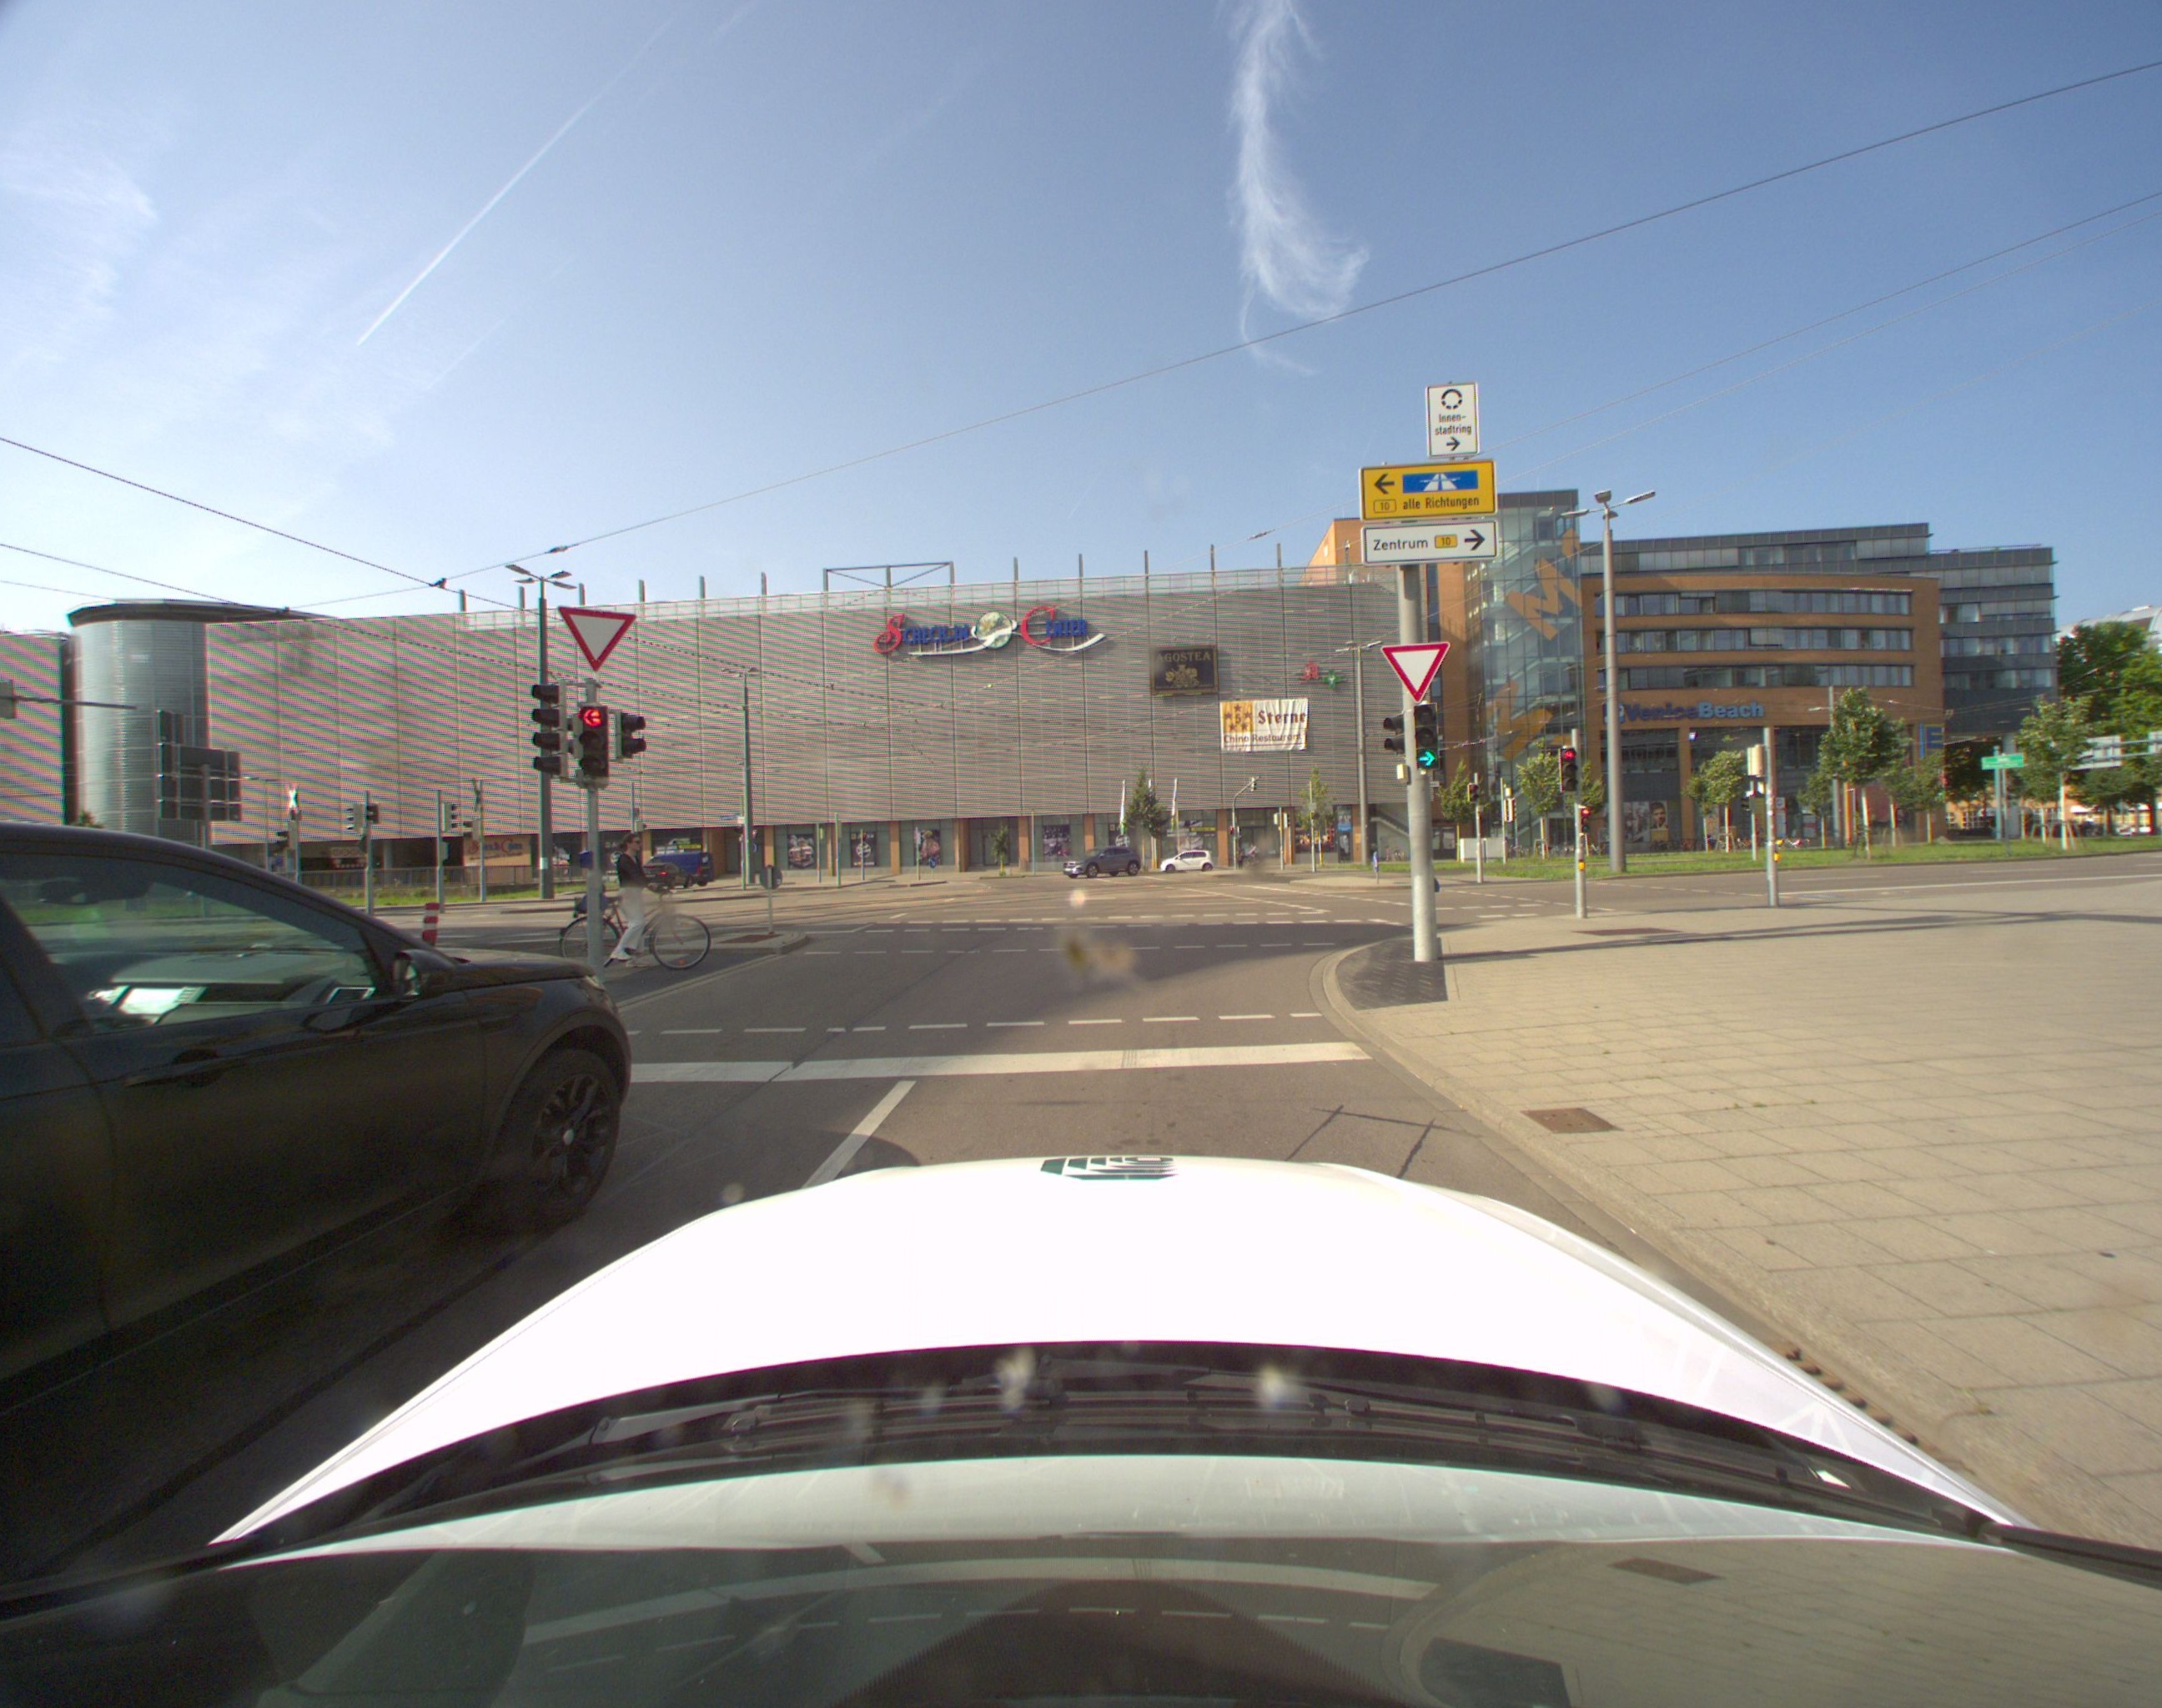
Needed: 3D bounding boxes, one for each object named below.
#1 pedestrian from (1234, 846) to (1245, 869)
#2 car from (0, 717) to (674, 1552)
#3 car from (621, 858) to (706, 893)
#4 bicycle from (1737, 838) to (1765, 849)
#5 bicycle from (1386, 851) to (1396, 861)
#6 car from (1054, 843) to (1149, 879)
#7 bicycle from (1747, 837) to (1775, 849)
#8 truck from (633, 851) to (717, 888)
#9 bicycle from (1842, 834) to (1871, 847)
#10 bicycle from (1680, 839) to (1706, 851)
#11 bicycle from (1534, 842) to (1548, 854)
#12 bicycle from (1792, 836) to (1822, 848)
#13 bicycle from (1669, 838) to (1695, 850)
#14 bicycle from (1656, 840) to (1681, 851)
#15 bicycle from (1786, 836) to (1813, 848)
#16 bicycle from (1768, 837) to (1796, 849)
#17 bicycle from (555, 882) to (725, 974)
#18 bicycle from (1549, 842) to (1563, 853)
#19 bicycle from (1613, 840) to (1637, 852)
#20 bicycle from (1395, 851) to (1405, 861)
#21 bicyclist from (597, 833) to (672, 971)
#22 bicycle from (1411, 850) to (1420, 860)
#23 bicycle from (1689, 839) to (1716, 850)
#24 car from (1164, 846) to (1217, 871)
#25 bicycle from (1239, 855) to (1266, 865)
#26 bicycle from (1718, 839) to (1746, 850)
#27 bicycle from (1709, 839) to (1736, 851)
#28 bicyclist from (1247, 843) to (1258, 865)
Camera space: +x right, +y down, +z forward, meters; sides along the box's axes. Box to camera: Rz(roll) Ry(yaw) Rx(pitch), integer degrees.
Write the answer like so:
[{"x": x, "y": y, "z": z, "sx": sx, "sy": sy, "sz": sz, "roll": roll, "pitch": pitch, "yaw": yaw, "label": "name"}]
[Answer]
[{"x": 11.035, "y": 0.234, "z": 56.653, "sx": 0.586, "sy": 1.579, "sz": 0.763, "roll": -2, "pitch": -1, "yaw": -1, "label": "pedestrian"}, {"x": -3.074, "y": 0.596, "z": 2.018, "sx": 1.790, "sy": 1.678, "sz": 4.224, "roll": -3, "pitch": 0, "yaw": 2, "label": "car"}, {"x": -22.481, "y": 1.140, "z": 44.040, "sx": 1.981, "sy": 1.695, "sz": 4.011, "roll": -2, "pitch": 0, "yaw": 10, "label": "car"}, {"x": 55.614, "y": -0.865, "z": 67.586, "sx": 0.570, "sy": 0.921, "sz": 2.054, "roll": -2, "pitch": 0, "yaw": -1, "label": "bicycle"}, {"x": 24.023, "y": 0.120, "z": 63.129, "sx": 0.448, "sy": 0.752, "sz": 1.008, "roll": -2, "pitch": 0, "yaw": 5, "label": "bicycle"}, {"x": 1.119, "y": 0.352, "z": 42.567, "sx": 4.837, "sy": 1.783, "sz": 1.934, "roll": 0, "pitch": -1, "yaw": -37, "label": "car"}, {"x": 56.506, "y": -0.899, "z": 67.681, "sx": 0.570, "sy": 0.921, "sz": 2.054, "roll": -2, "pitch": 0, "yaw": -1, "label": "bicycle"}, {"x": -27.415, "y": 1.033, "z": 55.127, "sx": 4.524, "sy": 2.322, "sz": 2.206, "roll": -2, "pitch": 0, "yaw": -2, "label": "truck"}, {"x": 60.036, "y": -1.043, "z": 63.080, "sx": 0.704, "sy": 0.907, "sz": 1.682, "roll": -1, "pitch": 0, "yaw": 4, "label": "bicycle"}, {"x": 50.417, "y": -0.736, "z": 67.108, "sx": 0.570, "sy": 0.921, "sz": 2.054, "roll": -2, "pitch": 0, "yaw": -1, "label": "bicycle"}, {"x": 36.567, "y": -0.466, "z": 64.735, "sx": 0.255, "sy": 0.886, "sz": 1.468, "roll": 0, "pitch": -1, "yaw": 0, "label": "bicycle"}, {"x": 60.524, "y": -0.994, "z": 67.898, "sx": 0.570, "sy": 0.921, "sz": 2.054, "roll": -2, "pitch": 0, "yaw": -1, "label": "bicycle"}, {"x": 49.509, "y": -0.846, "z": 67.125, "sx": 0.570, "sy": 0.921, "sz": 2.054, "roll": -2, "pitch": 0, "yaw": -1, "label": "bicycle"}, {"x": 48.272, "y": -0.688, "z": 66.946, "sx": 0.570, "sy": 0.921, "sz": 2.054, "roll": -2, "pitch": 0, "yaw": -1, "label": "bicycle"}, {"x": 59.794, "y": -0.989, "z": 67.825, "sx": 0.378, "sy": 0.921, "sz": 2.054, "roll": -2, "pitch": 0, "yaw": -1, "label": "bicycle"}, {"x": 58.170, "y": -0.929, "z": 67.602, "sx": 0.570, "sy": 0.921, "sz": 2.054, "roll": -2, "pitch": 0, "yaw": -1, "label": "bicycle"}, {"x": -5.623, "y": 0.921, "z": 10.473, "sx": 1.797, "sy": 1.098, "sz": 0.668, "roll": 0, "pitch": -1, "yaw": -7, "label": "bicycle"}, {"x": 37.789, "y": -0.497, "z": 64.751, "sx": 0.255, "sy": 0.830, "sz": 1.468, "roll": 0, "pitch": 2, "yaw": 0, "label": "bicycle"}, {"x": 44.619, "y": -0.644, "z": 66.854, "sx": 0.570, "sy": 0.921, "sz": 2.054, "roll": -2, "pitch": 0, "yaw": -1, "label": "bicycle"}, {"x": 24.627, "y": 0.113, "z": 62.904, "sx": 0.448, "sy": 0.752, "sz": 1.008, "roll": -2, "pitch": 0, "yaw": 5, "label": "bicycle"}, {"x": -5.721, "y": 0.596, "z": 10.468, "sx": 0.634, "sy": 1.703, "sz": 0.668, "roll": 0, "pitch": -1, "yaw": -7, "label": "bicyclist"}, {"x": 25.806, "y": 0.073, "z": 62.822, "sx": 0.358, "sy": 0.752, "sz": 1.026, "roll": -2, "pitch": 0, "yaw": 5, "label": "bicycle"}, {"x": 51.280, "y": -0.778, "z": 67.209, "sx": 0.570, "sy": 0.921, "sz": 2.054, "roll": -2, "pitch": 0, "yaw": -1, "label": "bicycle"}, {"x": 7.201, "y": 0.306, "z": 53.919, "sx": 3.377, "sy": 1.559, "sz": 1.745, "roll": 0, "pitch": -1, "yaw": 2, "label": "car"}, {"x": 12.810, "y": 0.443, "z": 60.756, "sx": 1.857, "sy": 0.779, "sz": 0.582, "roll": 0, "pitch": -1, "yaw": -1, "label": "bicycle"}, {"x": 53.881, "y": -0.773, "z": 67.417, "sx": 0.570, "sy": 0.921, "sz": 2.054, "roll": -2, "pitch": 0, "yaw": -1, "label": "bicycle"}, {"x": 53.029, "y": -0.749, "z": 67.298, "sx": 0.570, "sy": 0.921, "sz": 2.054, "roll": -2, "pitch": 0, "yaw": -1, "label": "bicycle"}, {"x": 12.825, "y": 0.030, "z": 60.761, "sx": 0.709, "sy": 1.630, "sz": 0.569, "roll": 0, "pitch": -1, "yaw": 2, "label": "bicyclist"}]
